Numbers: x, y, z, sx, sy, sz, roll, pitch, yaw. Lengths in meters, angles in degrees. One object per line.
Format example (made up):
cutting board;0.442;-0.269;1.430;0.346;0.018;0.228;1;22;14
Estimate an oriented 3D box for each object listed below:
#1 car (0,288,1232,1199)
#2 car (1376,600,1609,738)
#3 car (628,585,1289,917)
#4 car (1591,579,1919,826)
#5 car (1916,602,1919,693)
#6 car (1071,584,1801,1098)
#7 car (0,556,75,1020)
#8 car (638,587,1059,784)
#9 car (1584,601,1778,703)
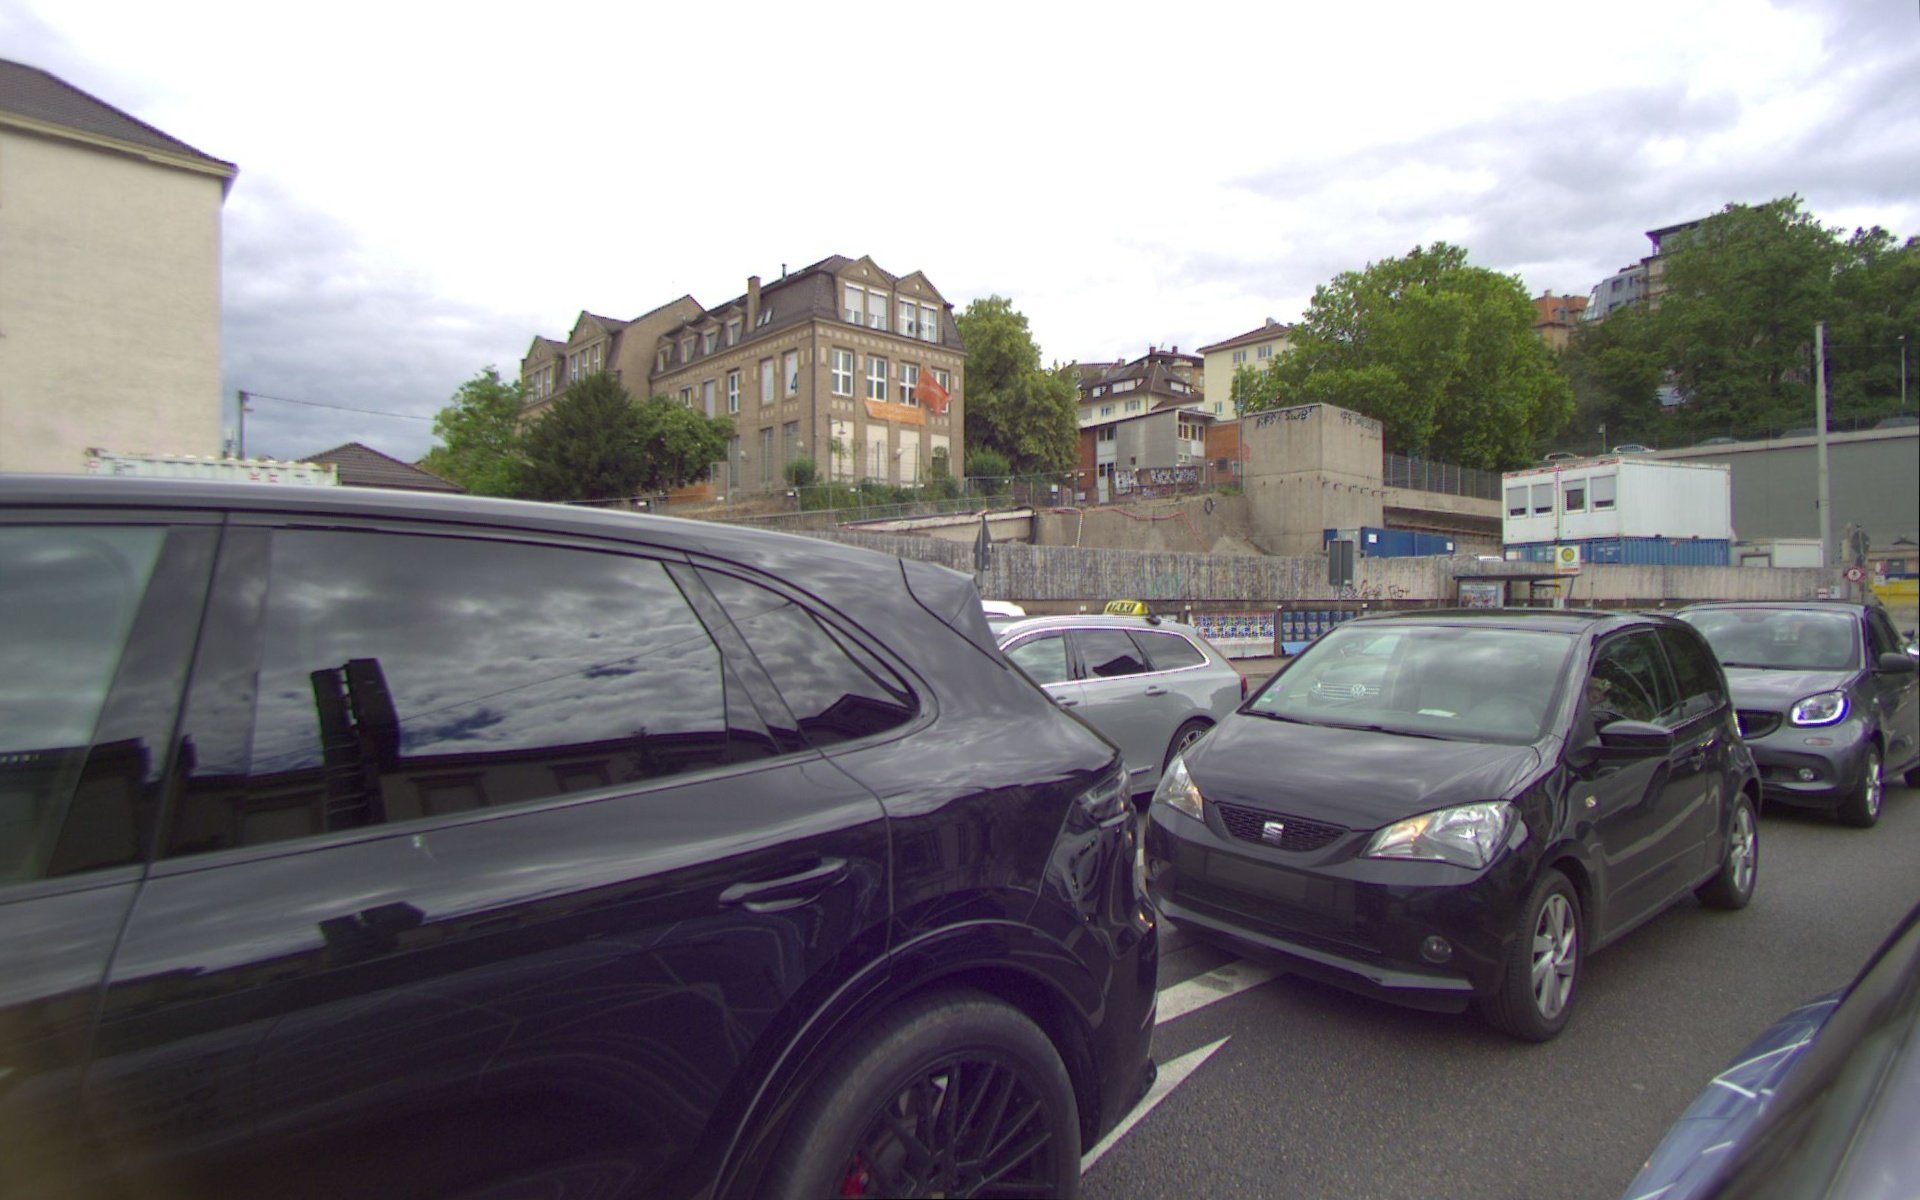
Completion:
car;-1.621;0.559;1.613;4.406;1.736;1.827;-1;0;-41
car;6.506;0.737;12.320;2.667;1.449;1.664;-1;0;-41
car;0.270;0.723;7.275;4.725;1.645;1.827;-1;0;-41
car;6.708;0.652;8.199;3.511;1.563;1.720;0;0;-40
car;17.672;0.763;17.123;3.738;1.477;1.680;-1;0;-39
car;2.437;0.671;4.805;3.636;1.476;1.827;-1;0;-41
car;-5.303;0.682;3.051;3.930;1.645;1.679;-1;0;-41
car;-1.007;0.699;10.491;4.136;1.645;1.679;-1;0;-41
car;11.506;0.737;16.070;3.740;1.383;1.679;-1;0;-41
